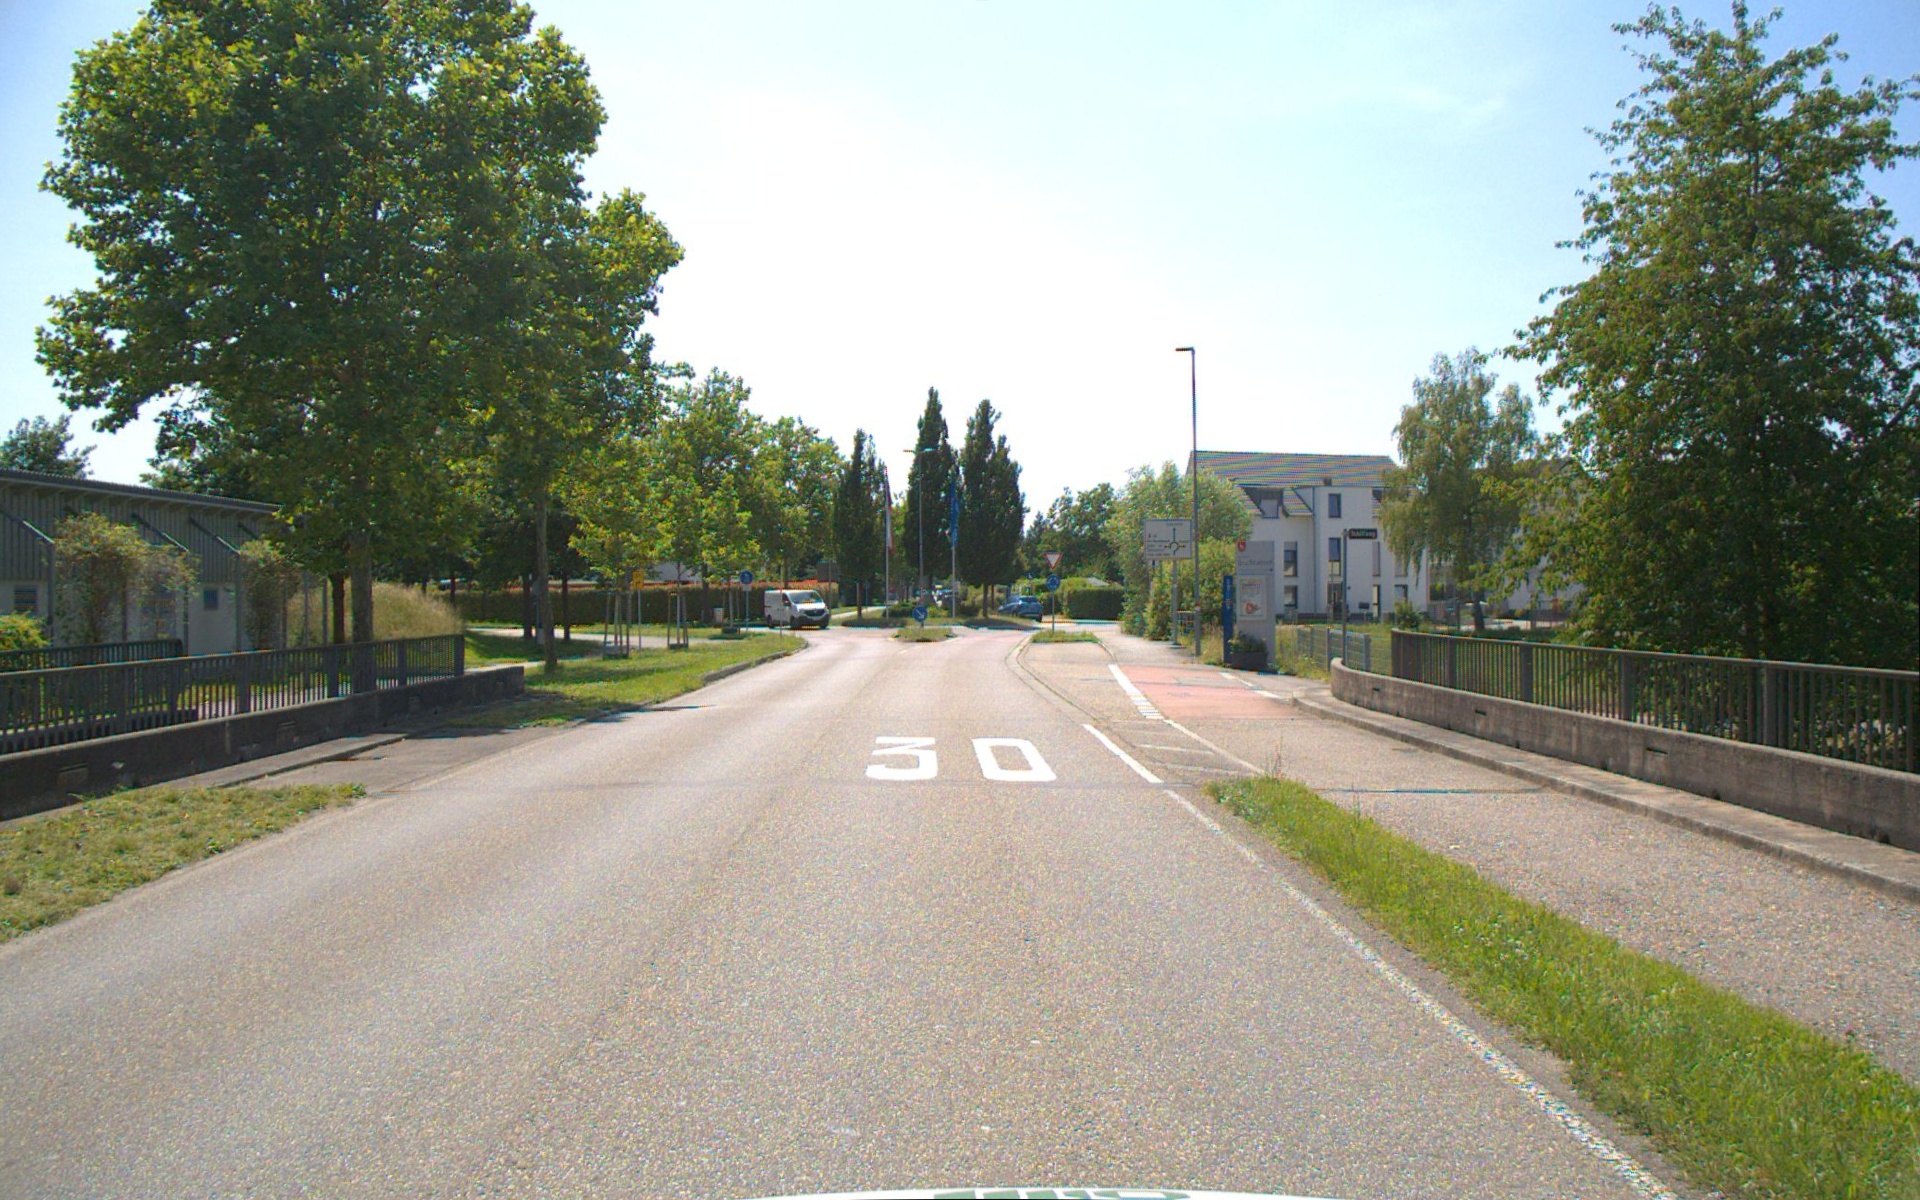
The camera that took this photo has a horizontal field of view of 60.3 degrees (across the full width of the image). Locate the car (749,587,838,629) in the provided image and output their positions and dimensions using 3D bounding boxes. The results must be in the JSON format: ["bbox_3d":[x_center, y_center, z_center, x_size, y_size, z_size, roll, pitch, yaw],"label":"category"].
[{"bbox_3d":[-8.624,0.404,85.492,2.114,2.049,5.074,1,-1,-40],"label":"car"}]

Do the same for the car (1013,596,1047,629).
[{"bbox_3d":[4.277,0.764,102.090,1.883,1.919,4.000,1,0,0],"label":"car"}]

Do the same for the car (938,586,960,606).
[{"bbox_3d":[-1.052,-0.373,156.826,1.953,1.801,3.999,1,0,-1],"label":"car"}]
